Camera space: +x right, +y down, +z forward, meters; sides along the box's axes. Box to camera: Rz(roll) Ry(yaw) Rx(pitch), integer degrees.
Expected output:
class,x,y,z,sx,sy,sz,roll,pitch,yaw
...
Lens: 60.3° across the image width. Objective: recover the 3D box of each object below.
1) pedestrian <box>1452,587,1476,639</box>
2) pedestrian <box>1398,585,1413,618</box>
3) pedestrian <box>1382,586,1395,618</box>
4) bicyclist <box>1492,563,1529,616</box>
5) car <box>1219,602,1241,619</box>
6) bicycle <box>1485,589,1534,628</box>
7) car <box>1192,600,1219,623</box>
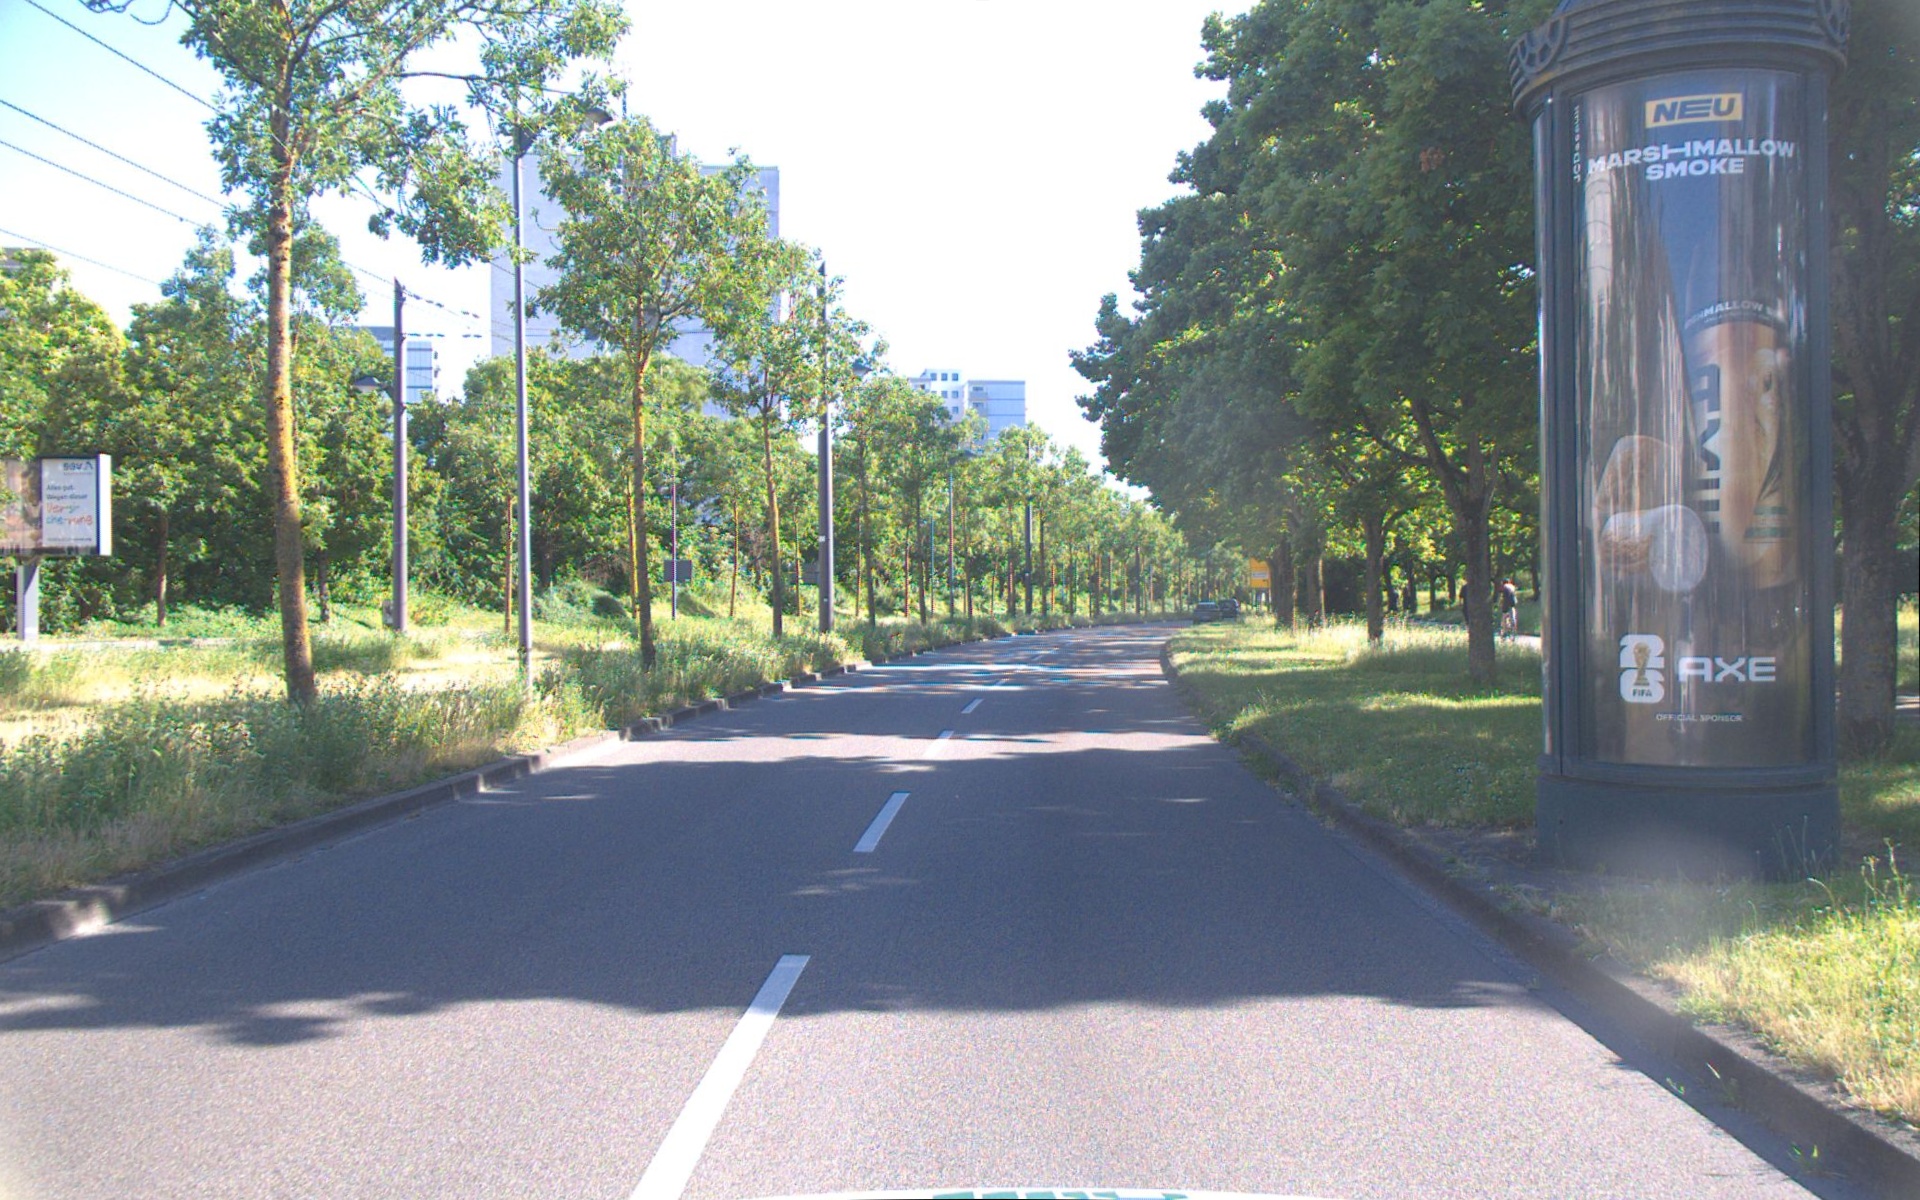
class,x,y,z,sx,sy,sz,roll,pitch,yaw
pedestrian,17.815,0.461,58.430,0.700,1.835,0.794,-1,0,10
pedestrian,23.681,0.069,87.937,0.623,1.721,0.844,-1,-1,23
pedestrian,22.916,0.104,88.376,0.535,1.650,0.844,-1,-1,23
bicyclist,15.507,-0.287,46.625,0.775,1.476,0.842,-1,-1,34
car,24.830,0.984,152.085,1.599,1.524,4.237,0,0,15
bicycle,15.487,0.222,46.585,0.780,1.065,2.136,-1,-1,33
car,16.660,0.788,112.075,1.599,1.524,4.238,0,0,11
